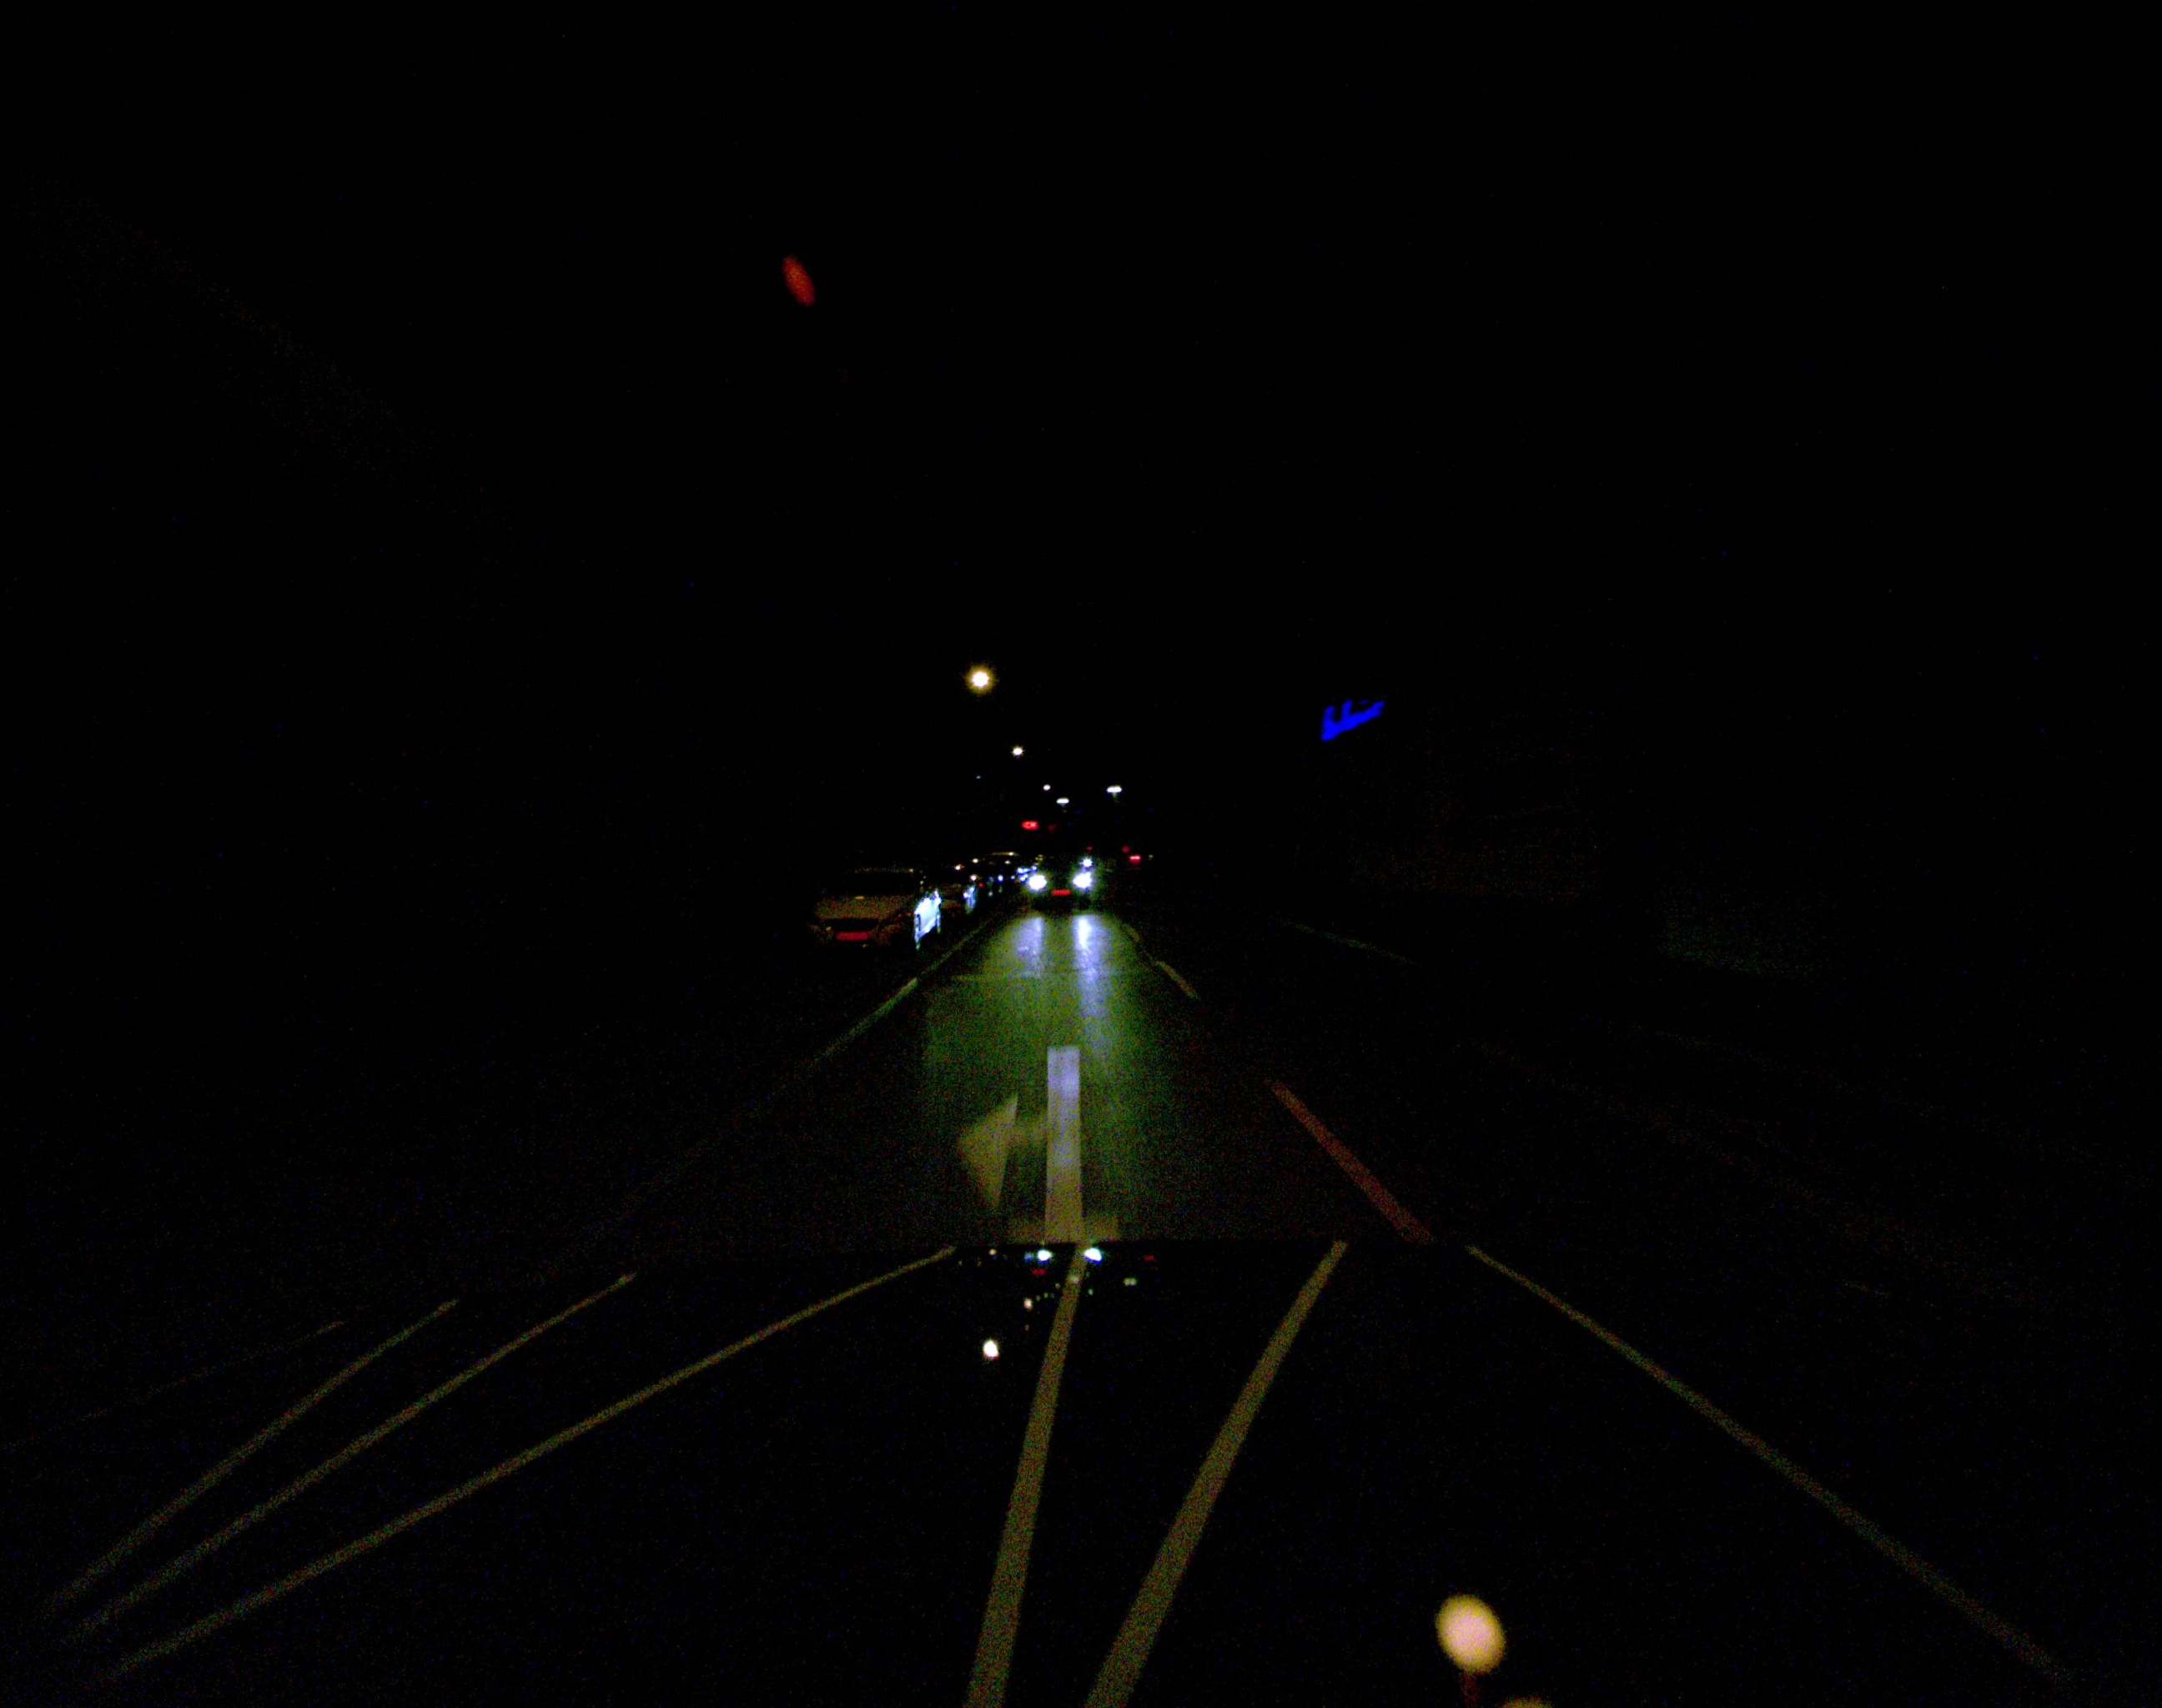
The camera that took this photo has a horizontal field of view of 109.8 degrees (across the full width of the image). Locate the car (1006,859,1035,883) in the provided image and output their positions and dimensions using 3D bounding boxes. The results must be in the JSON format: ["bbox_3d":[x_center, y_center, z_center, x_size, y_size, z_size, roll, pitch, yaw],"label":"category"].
[{"bbox_3d":[-4.062,1.117,51.618,1.599,1.458,3.718,-2,1,0],"label":"car"}]

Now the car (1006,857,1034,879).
[{"bbox_3d":[-4.502,1.020,56.688,1.783,1.418,3.890,-2,1,-1],"label":"car"}]

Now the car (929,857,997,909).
[{"bbox_3d":[-3.914,0.921,25.932,1.828,1.613,4.456,-1,0,-3],"label":"car"}]

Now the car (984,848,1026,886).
[{"bbox_3d":[-4.011,0.668,40.712,1.805,1.864,4.773,0,0,-1],"label":"car"}]

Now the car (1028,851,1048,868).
[{"bbox_3d":[-4.912,0.622,87.794,2.077,1.917,5.369,0,1,0],"label":"car"}]

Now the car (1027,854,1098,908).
[{"bbox_3d":[-0.513,0.822,25.065,1.998,1.606,4.001,-1,0,3],"label":"car"}]

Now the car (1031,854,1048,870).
[{"bbox_3d":[-4.493,0.864,82.273,1.824,1.590,4.219,1,0,-3],"label":"car"}]

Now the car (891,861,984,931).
[{"bbox_3d":[-3.681,1.012,20.242,1.780,1.535,4.544,-2,1,-3],"label":"car"}]

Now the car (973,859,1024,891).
[{"bbox_3d":[-3.844,0.957,36.037,1.820,1.419,4.189,0,0,2],"label":"car"}]

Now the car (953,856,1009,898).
[{"bbox_3d":[-4.014,0.871,31.244,1.828,1.579,4.627,-1,0,-2],"label":"car"}]

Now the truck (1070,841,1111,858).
[{"bbox_3d":[2.305,-1.060,180.363,9.341,3.701,2.002,-2,1,15],"label":"truck"}]

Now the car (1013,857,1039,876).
[{"bbox_3d":[-4.447,1.014,62.247,1.783,1.418,4.480,-2,1,0],"label":"car"}]

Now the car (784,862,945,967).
[{"bbox_3d":[-3.778,0.962,14.126,1.865,1.480,4.544,-2,1,-3],"label":"car"}]

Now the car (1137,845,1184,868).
[{"bbox_3d":[7.162,0.240,68.395,3.993,1.878,1.910,-2,1,12],"label":"car"}]

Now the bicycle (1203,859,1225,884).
[{"bbox_3d":[5.897,0.773,33.716,0.621,1.045,1.721,-2,1,0],"label":"bicycle"}]

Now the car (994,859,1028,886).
[{"bbox_3d":[-4.151,1.077,45.485,1.599,1.458,3.891,-2,1,0],"label":"car"}]
